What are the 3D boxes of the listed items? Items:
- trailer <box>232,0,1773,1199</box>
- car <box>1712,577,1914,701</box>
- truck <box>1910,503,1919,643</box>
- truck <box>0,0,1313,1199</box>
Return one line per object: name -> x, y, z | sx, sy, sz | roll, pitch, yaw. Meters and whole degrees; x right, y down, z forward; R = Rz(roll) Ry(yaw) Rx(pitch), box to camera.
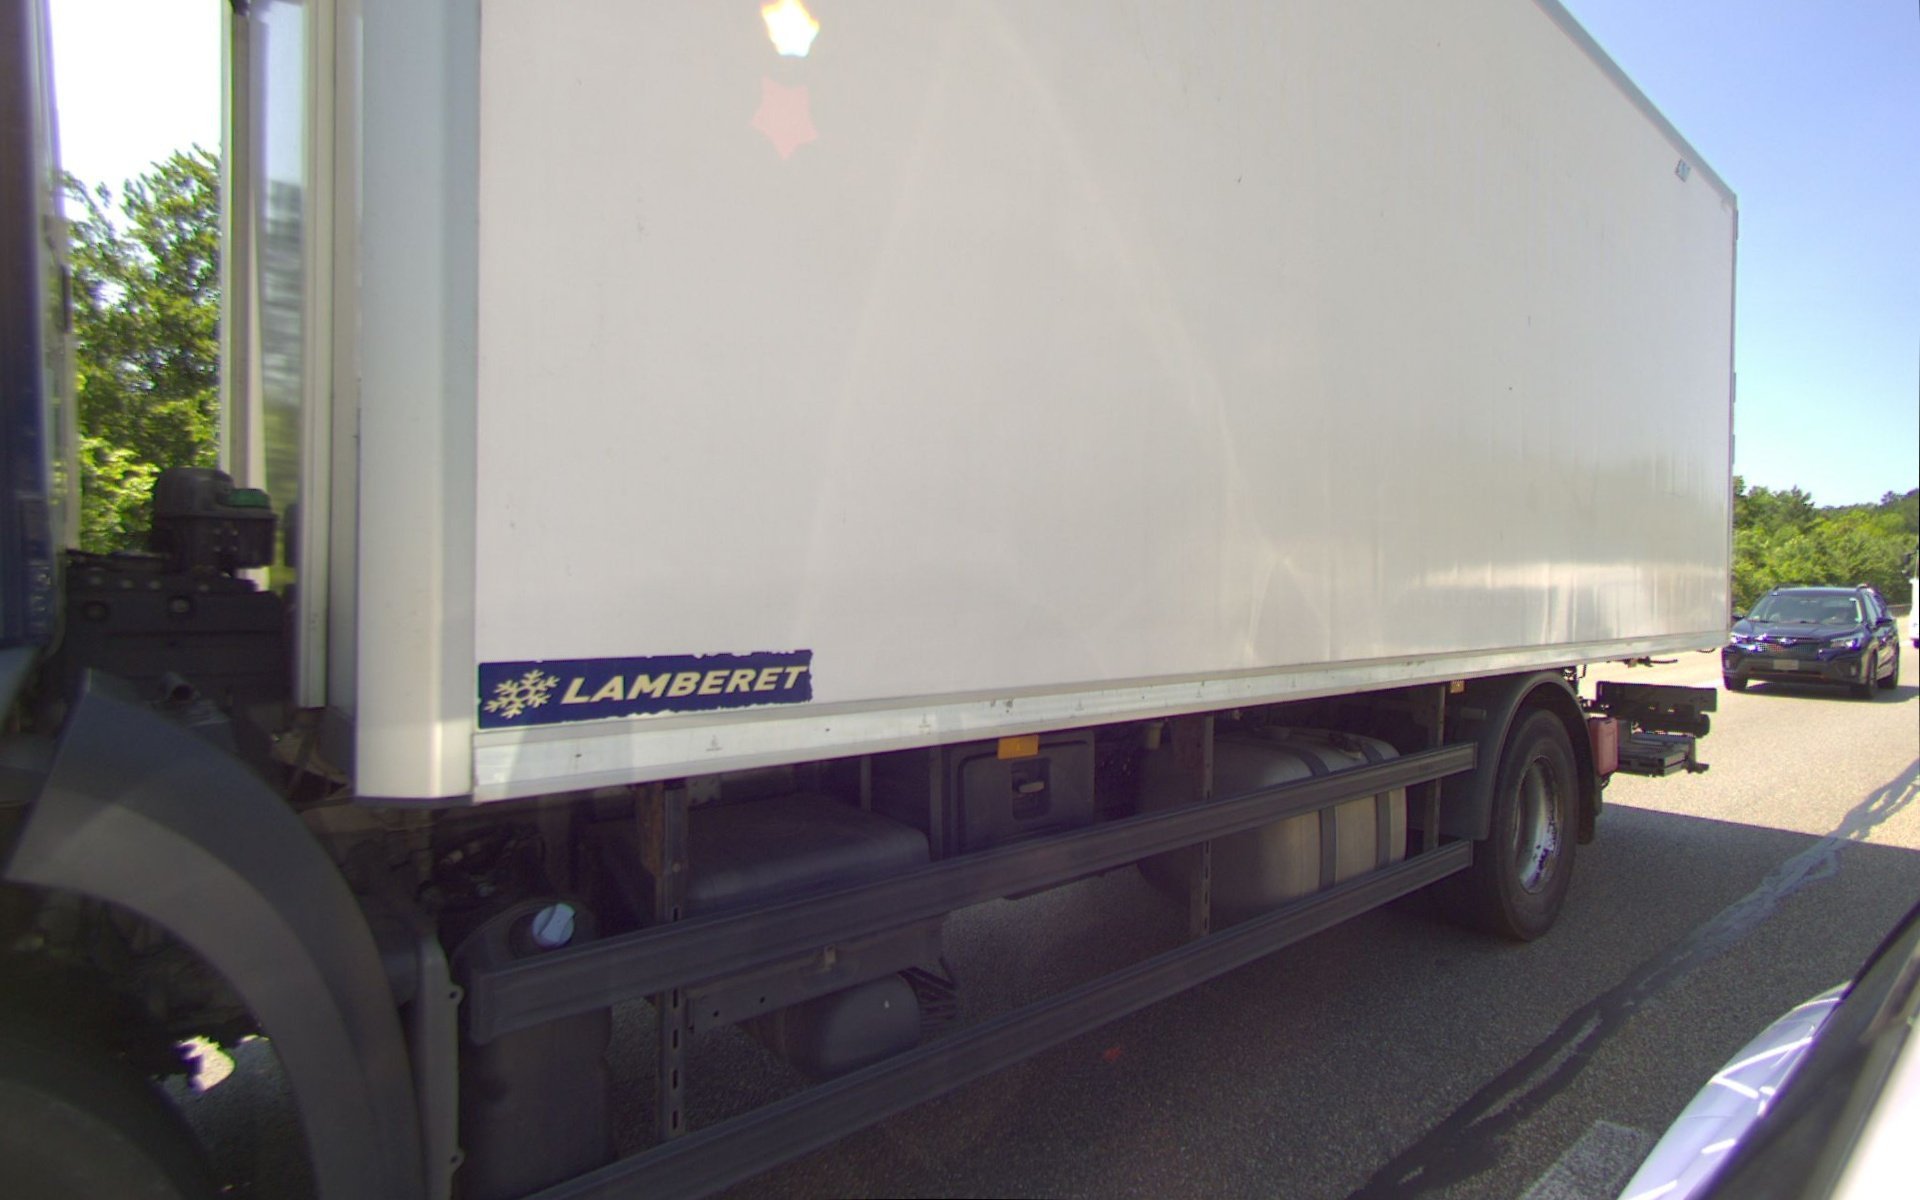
trailer -> 1.409, -0.136, 4.835 | 7.744, 2.936, 2.560 | 0, 0, -41
car -> 14.040, 0.502, 16.561 | 4.534, 1.713, 1.996 | -1, 2, -43
truck -> 31.905, -0.831, 31.375 | 7.205, 4.135, 2.765 | -1, 0, -40
truck -> -1.403, -0.113, 2.370 | 4.033, 2.977, 2.560 | -1, 2, -41
